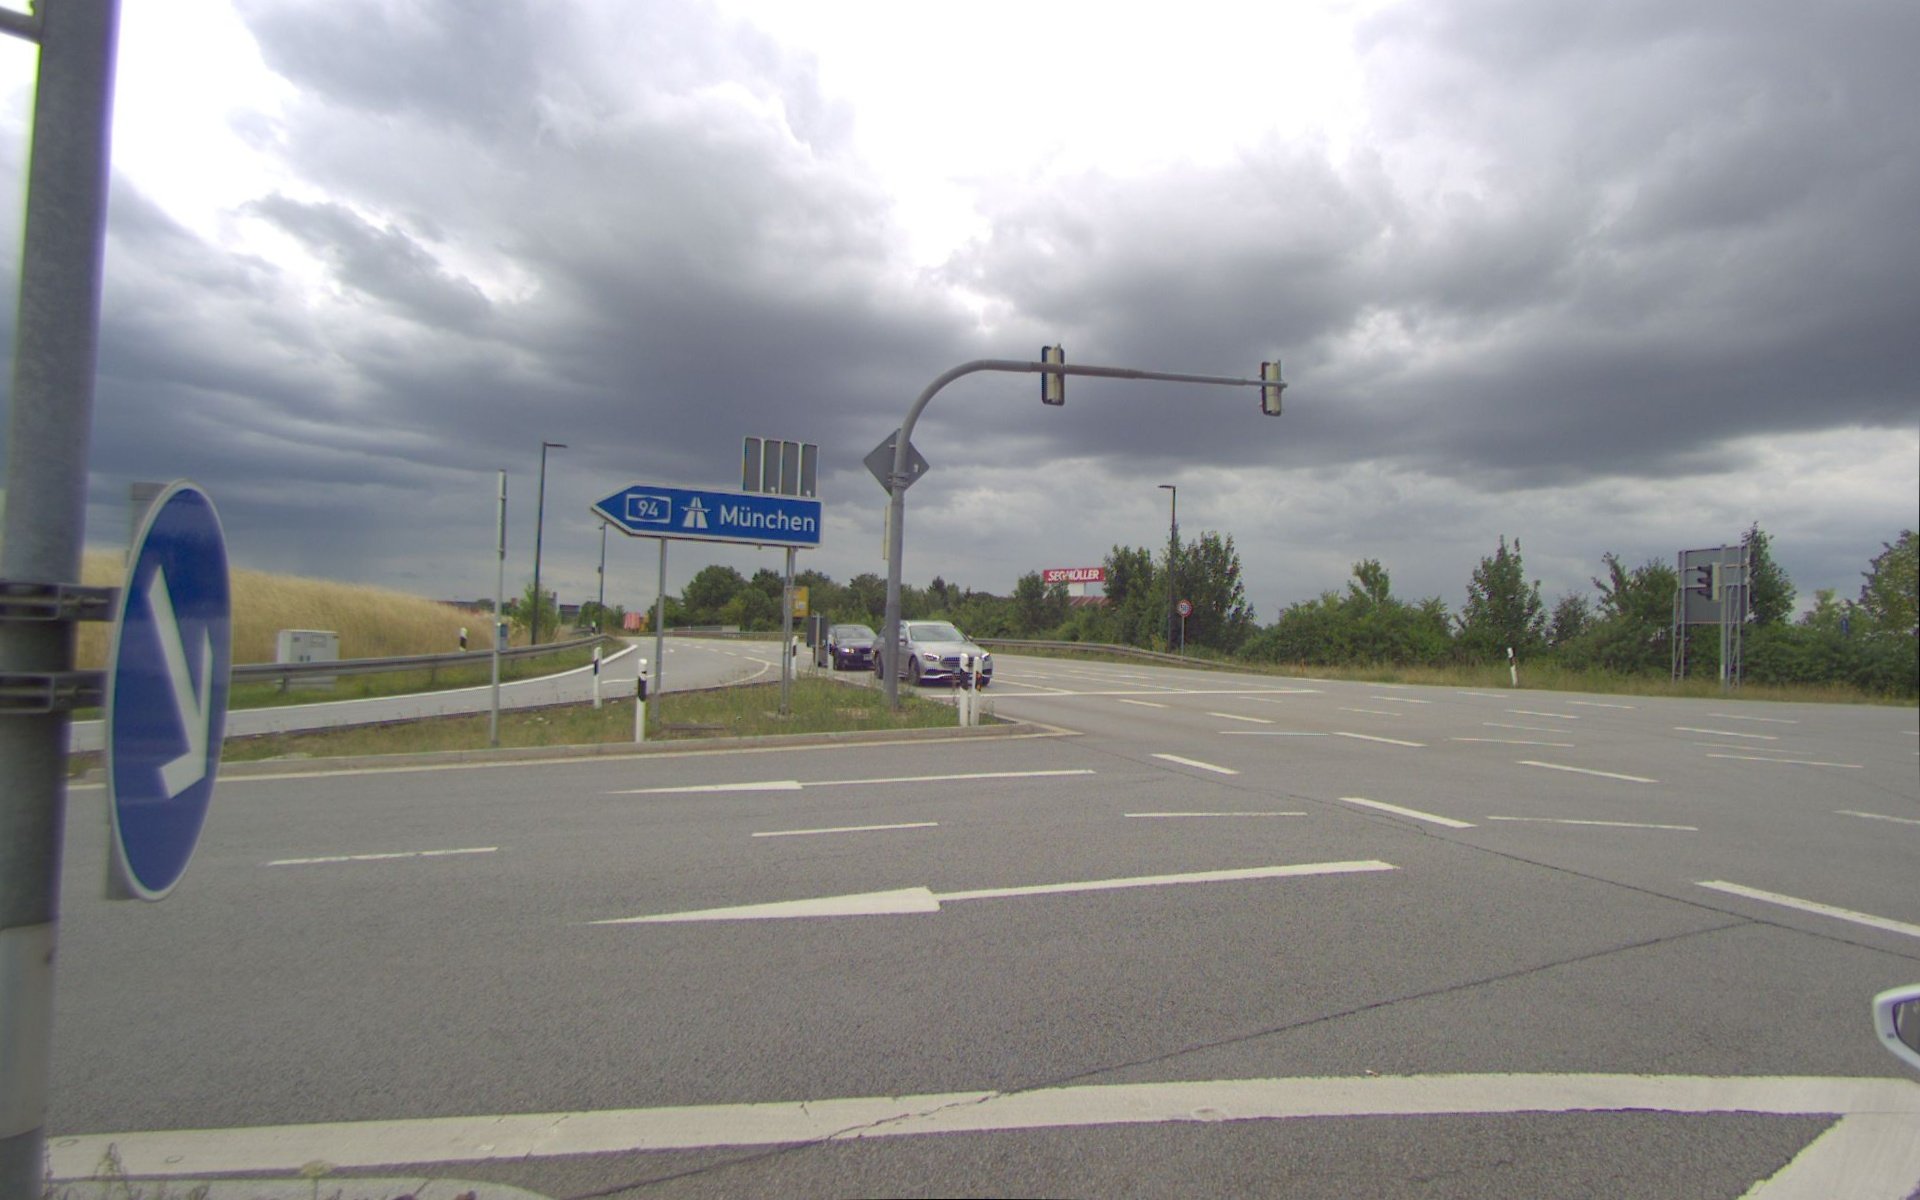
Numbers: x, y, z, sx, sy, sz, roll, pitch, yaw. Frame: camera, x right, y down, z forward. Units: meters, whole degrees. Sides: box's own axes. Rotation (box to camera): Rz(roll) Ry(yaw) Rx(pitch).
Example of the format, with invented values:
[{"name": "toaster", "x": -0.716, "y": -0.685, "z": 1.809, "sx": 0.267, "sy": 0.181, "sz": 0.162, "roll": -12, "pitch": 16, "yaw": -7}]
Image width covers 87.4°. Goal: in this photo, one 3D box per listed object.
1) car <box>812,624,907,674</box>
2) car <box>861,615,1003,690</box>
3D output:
[{"name": "car", "x": -3.253, "y": 1.506, "z": 31.604, "sx": 1.688, "sy": 1.429, "sz": 4.650, "roll": 2, "pitch": -3, "yaw": -22}, {"name": "car", "x": -0.819, "y": 1.201, "z": 24.638, "sx": 1.893, "sy": 1.632, "sz": 4.922, "roll": 1, "pitch": -1, "yaw": -22}]
